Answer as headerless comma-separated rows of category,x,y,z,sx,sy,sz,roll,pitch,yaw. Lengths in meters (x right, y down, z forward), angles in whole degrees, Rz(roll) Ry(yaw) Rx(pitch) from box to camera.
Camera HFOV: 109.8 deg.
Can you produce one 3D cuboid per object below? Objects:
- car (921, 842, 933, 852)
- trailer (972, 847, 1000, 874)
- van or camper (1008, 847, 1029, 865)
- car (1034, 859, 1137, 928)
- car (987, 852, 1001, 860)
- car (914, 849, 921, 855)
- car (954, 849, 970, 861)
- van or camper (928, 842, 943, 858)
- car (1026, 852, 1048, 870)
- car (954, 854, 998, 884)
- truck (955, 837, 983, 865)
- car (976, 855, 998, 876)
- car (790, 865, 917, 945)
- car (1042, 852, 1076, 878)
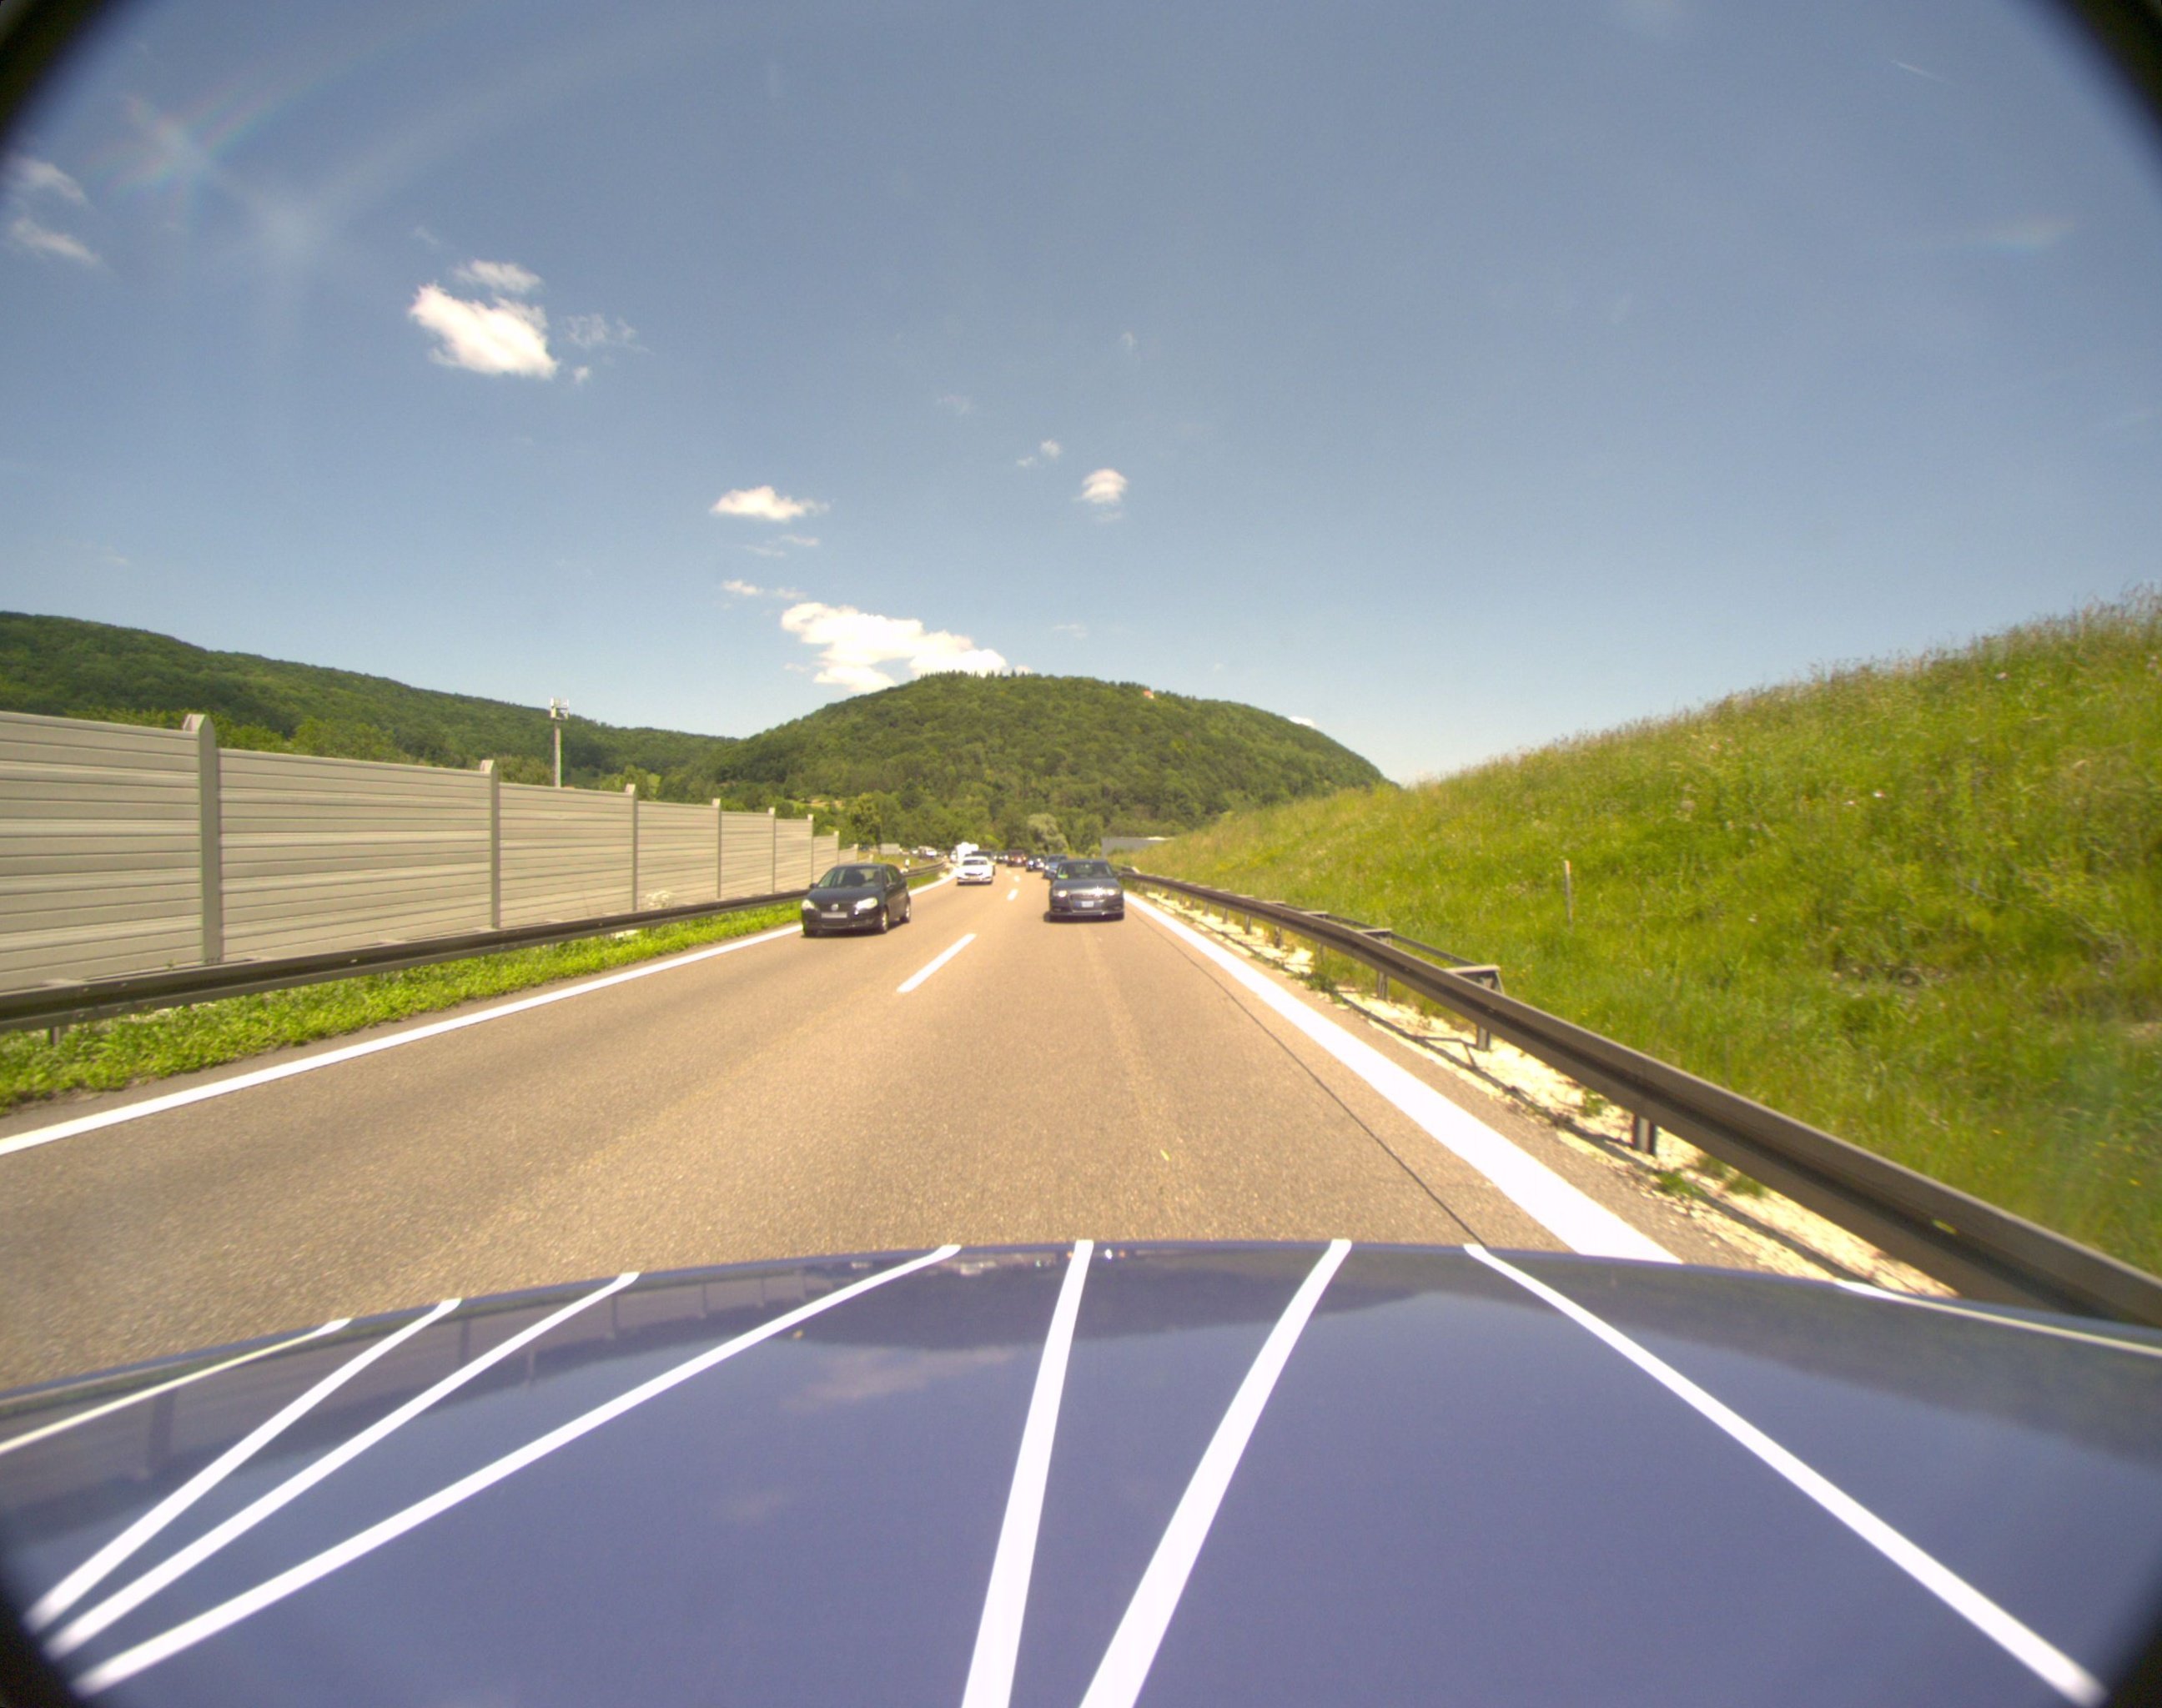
car,-31.598,-1.488,155.944,2.001,2.002,3.993,-3,1,-18
trailer,-7.223,0.464,57.587,2.000,1.958,3.997,-1,0,-8
van or camper,-6.765,0.177,82.124,1.819,1.855,3.609,-2,1,-12
car,-0.022,0.849,18.296,1.756,1.382,4.051,-2,0,-10
car,-12.665,0.262,110.698,1.493,1.102,3.209,-3,1,-16
car,-38.954,-0.477,181.290,1.247,1.470,2.956,-4,1,-17
car,-17.351,0.127,110.624,1.700,1.523,3.675,-4,1,-17
van or camper,-28.292,-0.750,147.586,1.912,3.010,4.866,-2,1,-20
car,-3.618,0.572,61.933,1.288,1.306,3.448,-3,2,-12
car,-5.514,0.792,40.325,1.908,1.421,3.722,-3,-1,-3
truck,-13.468,-0.400,90.984,2.605,3.089,6.850,-4,1,-13
car,-6.652,0.795,53.790,1.490,1.375,3.735,0,0,-7
car,-4.819,1.011,16.616,1.696,1.414,3.837,-2,1,-2
car,-1.347,0.602,45.500,1.696,1.422,3.461,-2,1,-6
